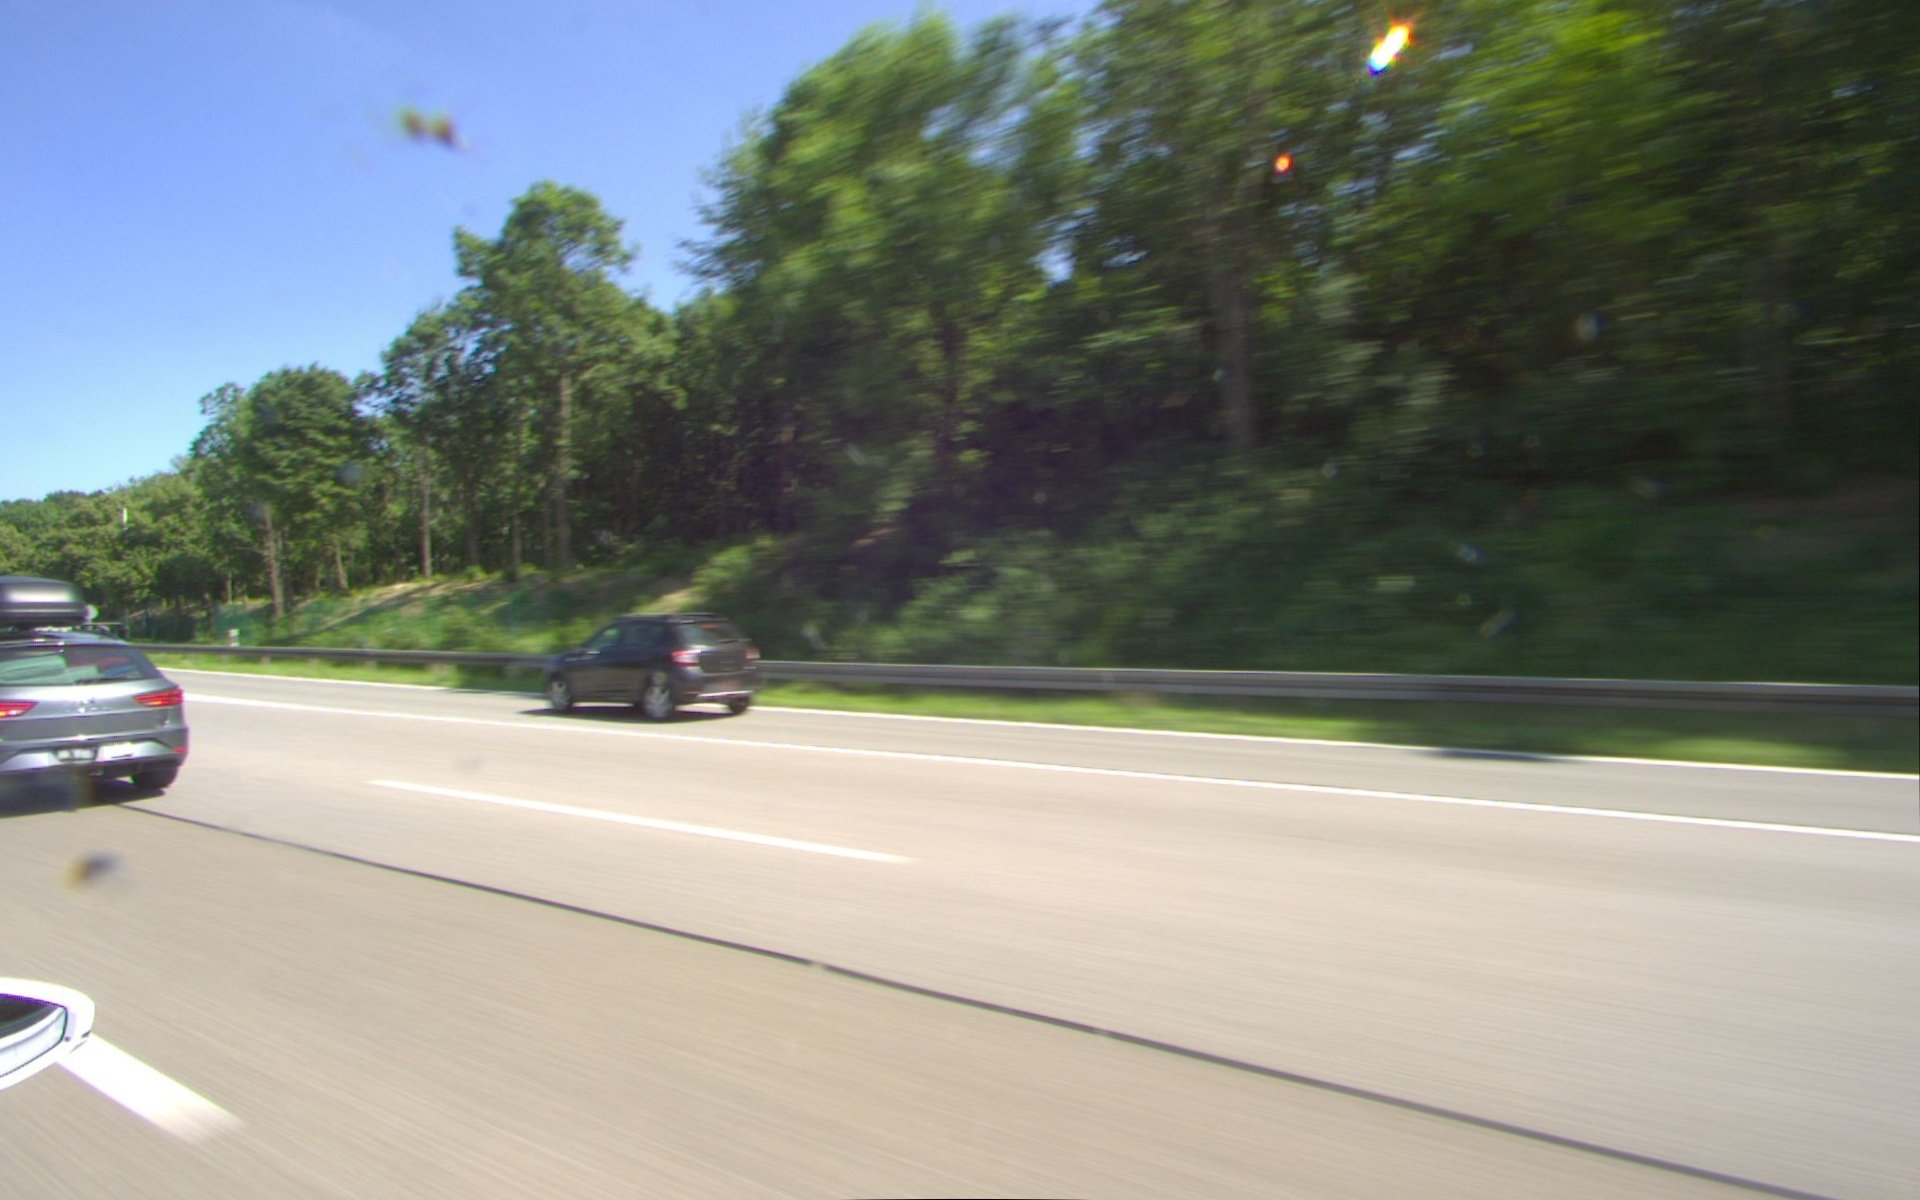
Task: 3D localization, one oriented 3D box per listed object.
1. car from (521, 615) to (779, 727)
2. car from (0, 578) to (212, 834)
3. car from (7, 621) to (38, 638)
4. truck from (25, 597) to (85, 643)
[{"bbox_3d":[-5.060,1.051,16.151,4.200,1.588,1.760,-1,-1,35],"label":"car"},{"bbox_3d":[-8.894,0.807,9.129,4.757,1.901,1.661,-1,1,32],"label":"car"},{"bbox_3d":[-100.578,3.158,107.445,4.268,1.673,1.984,-1,0,41],"label":"car"},{"bbox_3d":[-83.005,1.828,91.785,9.249,3.999,3.267,-1,0,43],"label":"truck"}]
